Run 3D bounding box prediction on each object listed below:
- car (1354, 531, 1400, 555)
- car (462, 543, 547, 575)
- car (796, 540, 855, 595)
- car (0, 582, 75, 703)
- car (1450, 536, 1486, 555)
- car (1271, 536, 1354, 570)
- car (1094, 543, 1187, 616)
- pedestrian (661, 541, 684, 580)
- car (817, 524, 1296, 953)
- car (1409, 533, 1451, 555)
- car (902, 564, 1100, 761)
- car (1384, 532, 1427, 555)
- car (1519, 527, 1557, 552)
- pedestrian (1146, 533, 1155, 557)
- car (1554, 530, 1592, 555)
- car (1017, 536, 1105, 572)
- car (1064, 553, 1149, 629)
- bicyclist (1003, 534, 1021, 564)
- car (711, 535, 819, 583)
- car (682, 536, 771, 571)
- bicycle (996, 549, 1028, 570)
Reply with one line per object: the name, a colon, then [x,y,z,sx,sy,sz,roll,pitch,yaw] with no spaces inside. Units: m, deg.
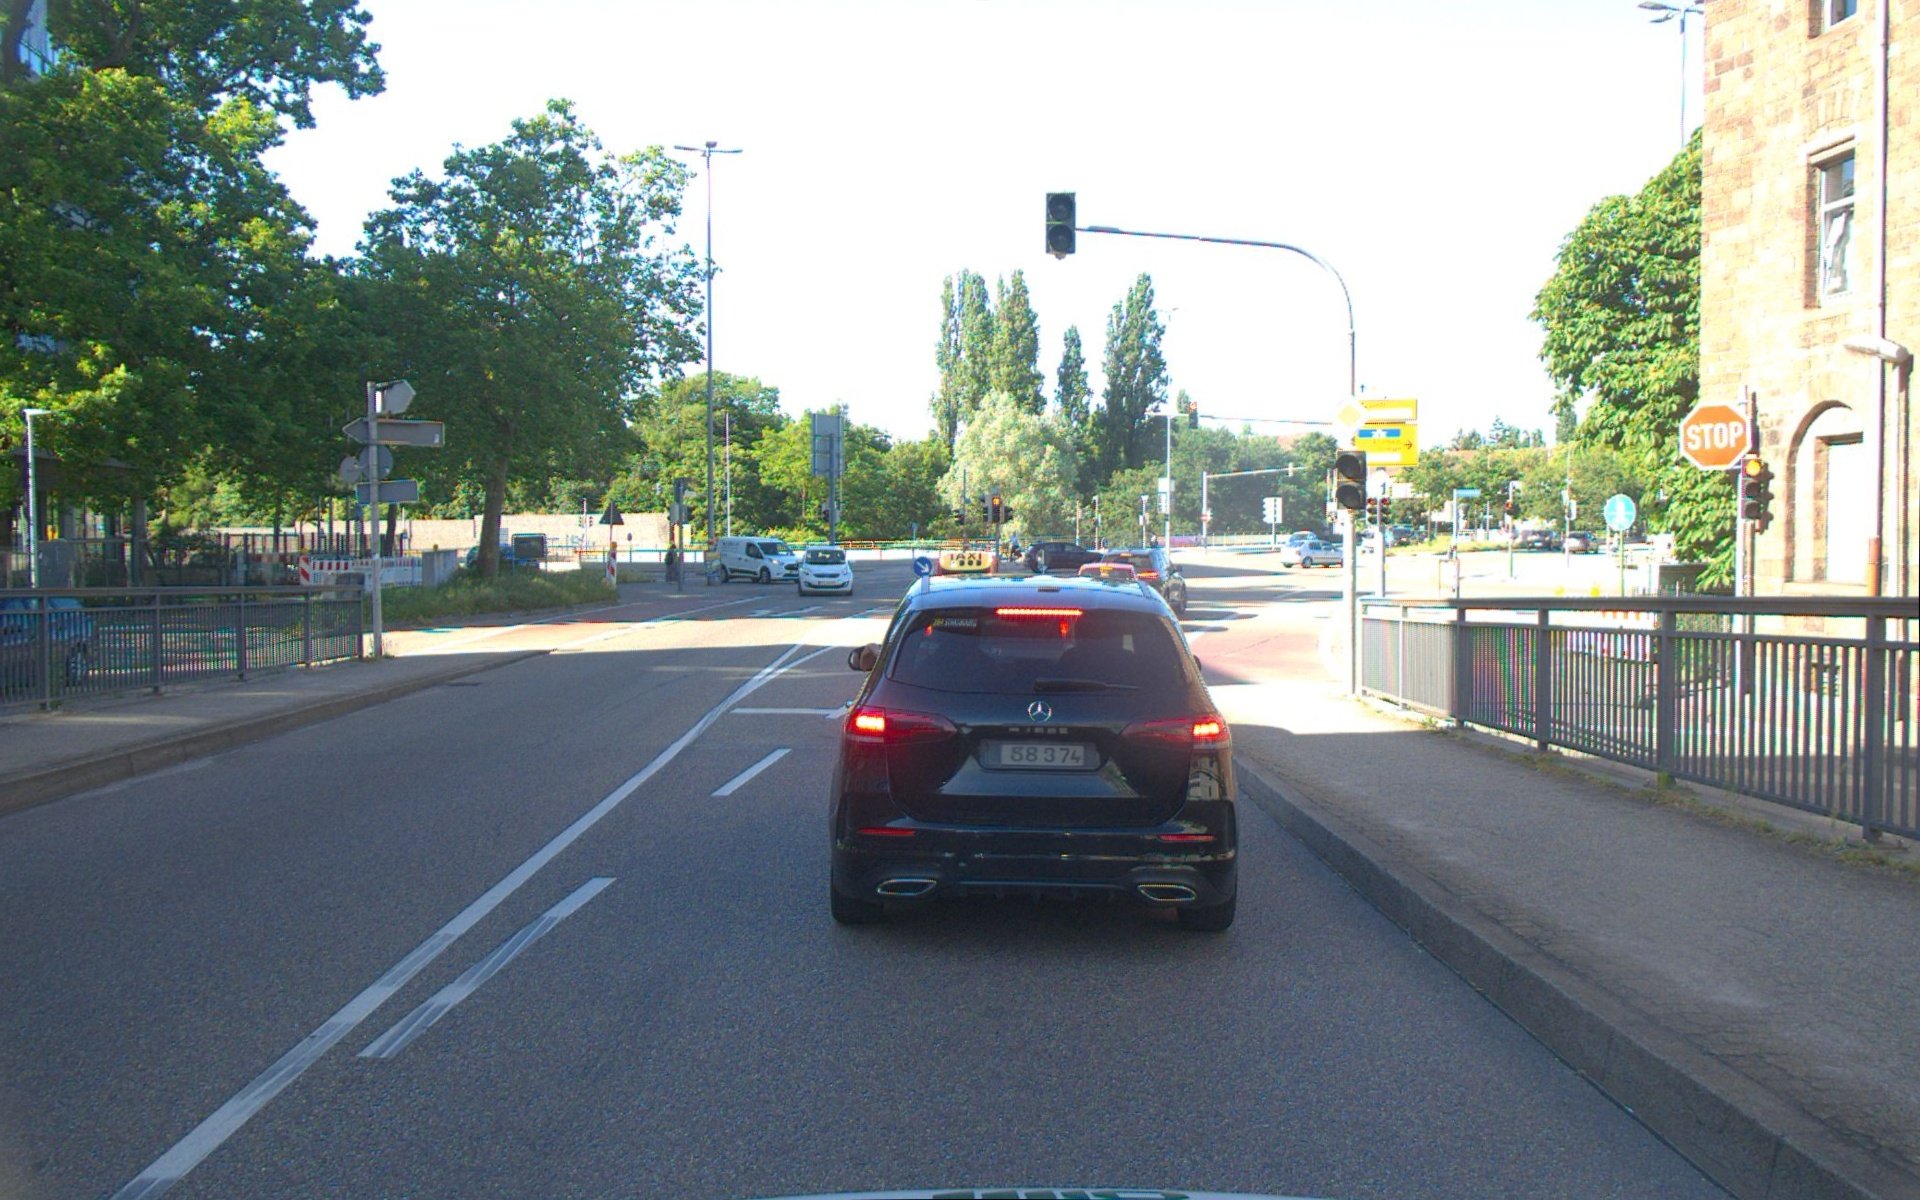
car: [28.718,-3.901,113.839,1.846,1.605,3.987,1,3,35]
car: [-23.974,-2.141,87.018,4.315,1.658,1.887,1,2,31]
car: [-4.437,-1.107,55.117,1.742,1.663,4.000,-1,3,-2]
car: [-14.909,0.647,24.189,1.814,1.722,4.000,0,2,-1]
car: [43.071,-4.624,140.116,1.846,1.605,3.987,1,3,35]
car: [18.019,-2.403,84.470,3.944,1.658,1.873,-1,2,-30]
car: [4.818,-0.580,43.665,1.685,1.843,4.301,0,2,16]
pedestrian: [-11.525,-1.576,66.247,0.690,1.552,0.744,1,1,9]
car: [0.336,0.509,8.424,1.840,1.641,3.999,1,1,-1]
car: [35.608,-4.269,125.277,1.846,1.605,3.987,1,3,35]
car: [0.369,0.481,15.397,1.606,1.556,3.475,-1,2,1]
car: [32.087,-4.103,119.069,1.846,1.605,3.987,1,3,35]
car: [41.643,-4.337,119.111,1.850,1.574,3.992,1,0,30]
pedestrian: [13.366,-3.864,116.176,0.443,1.613,0.499,0,2,39]
car: [40.924,-3.799,110.384,1.707,1.524,3.991,0,0,31]
car: [4.860,-2.223,79.900,3.914,1.658,1.887,-1,2,-10]
car: [3.405,-0.244,37.967,1.685,1.548,3.490,0,3,10]
bicyclist: [2.841,-2.783,90.275,0.518,1.578,0.802,0,2,43]
car: [-7.869,-1.656,66.407,1.907,1.825,4.826,-3,3,-41]
car: [-11.282,-2.236,80.058,3.902,1.658,1.892,0,2,6]
bicycle: [2.844,-2.208,90.301,0.518,1.068,1.977,0,2,43]
